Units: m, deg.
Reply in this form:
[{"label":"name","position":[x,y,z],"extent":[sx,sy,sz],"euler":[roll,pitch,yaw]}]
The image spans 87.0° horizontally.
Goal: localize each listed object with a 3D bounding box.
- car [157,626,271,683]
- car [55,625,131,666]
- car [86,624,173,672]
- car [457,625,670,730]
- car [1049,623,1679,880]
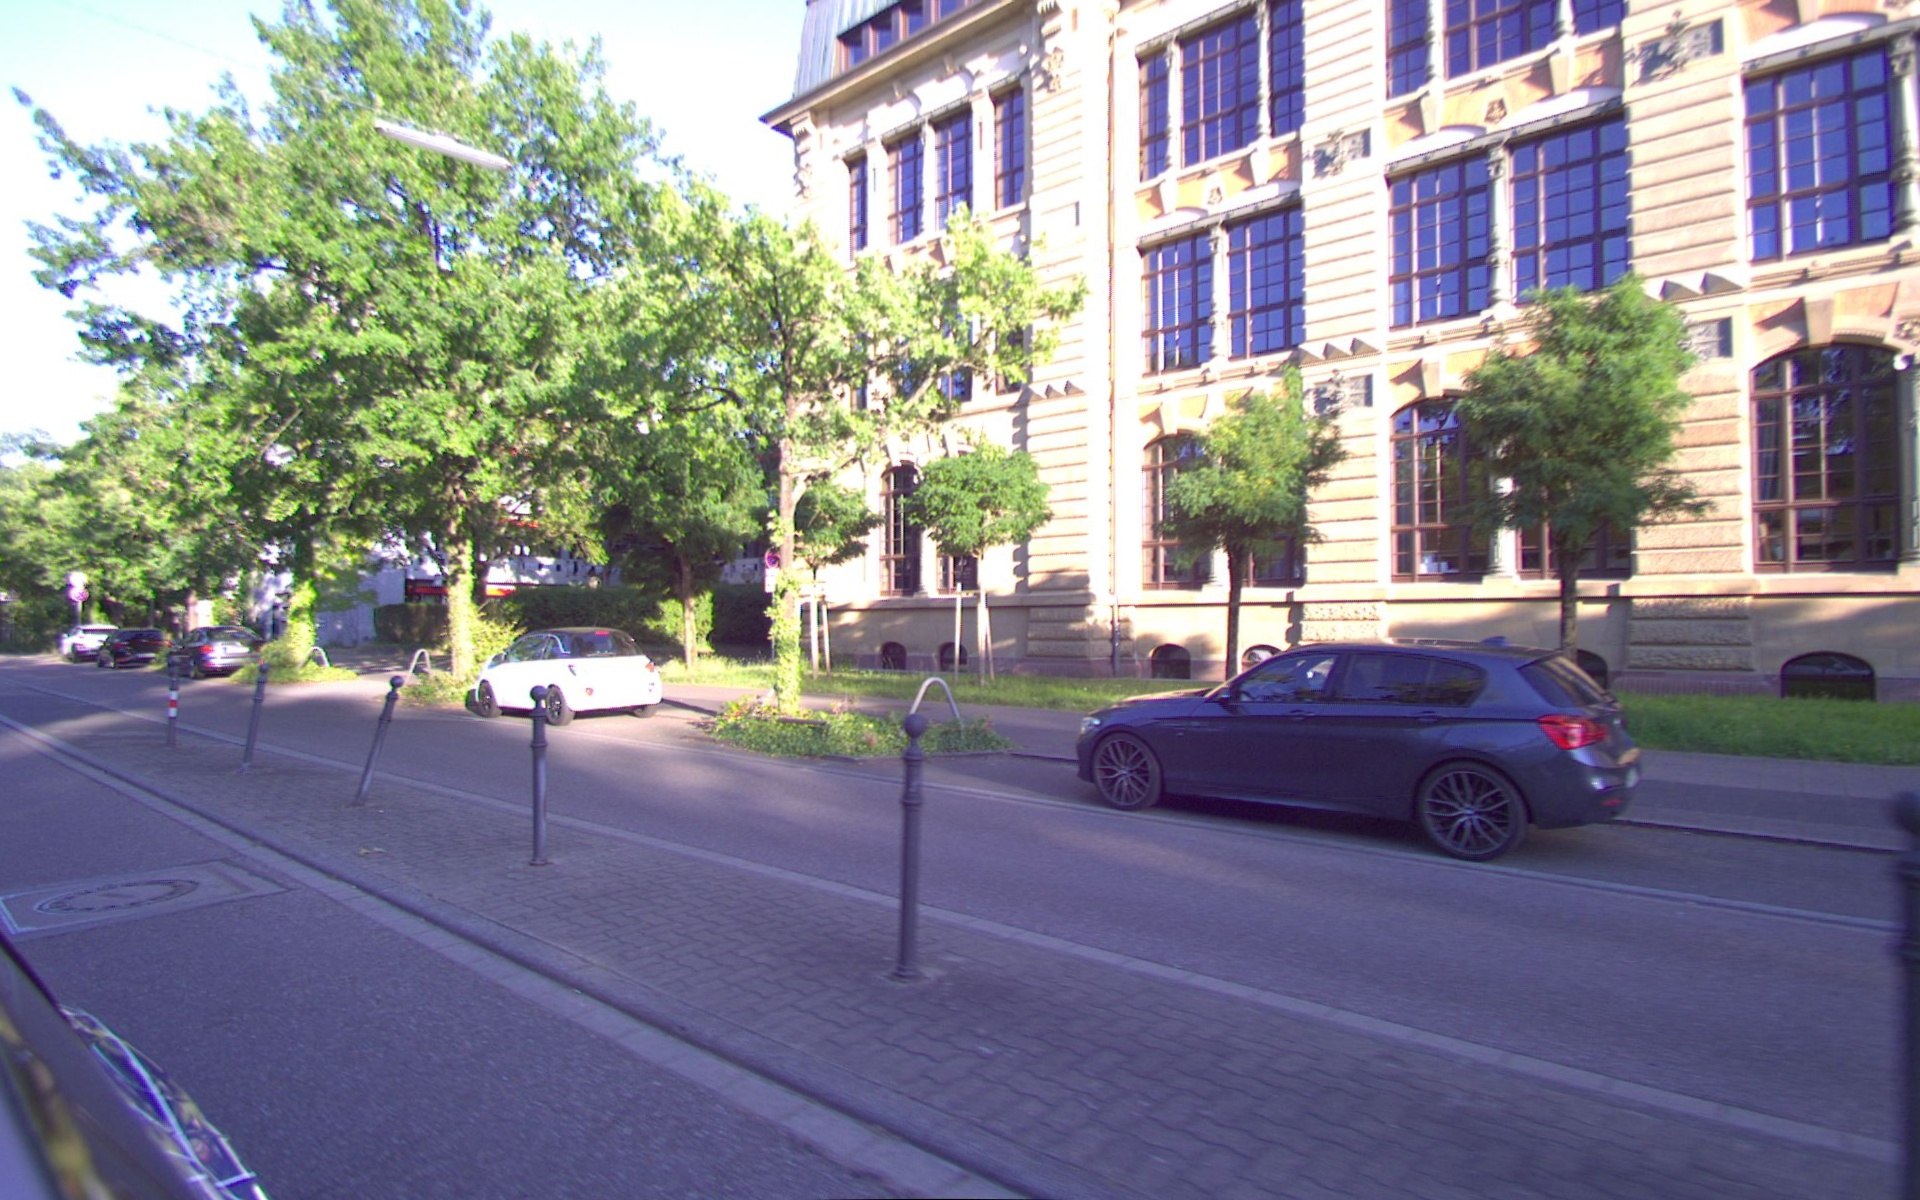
[{"label":"car","position":[-22.173,1.542,30.004],"extent":[4.861,1.522,1.783],"euler":[-1,-1,42]},{"label":"car","position":[-36.359,1.856,42.400],"extent":[4.144,1.628,1.785],"euler":[-1,-2,40]},{"label":"car","position":[-30.390,1.721,37.015],"extent":[4.144,1.628,1.762],"euler":[-1,-1,40]},{"label":"car","position":[-6.558,1.178,16.556],"extent":[3.922,1.507,1.601],"euler":[-1,-2,40]},{"label":"car","position":[2.960,0.954,8.060],"extent":[4.374,1.507,1.601],"euler":[-1,-2,40]}]
